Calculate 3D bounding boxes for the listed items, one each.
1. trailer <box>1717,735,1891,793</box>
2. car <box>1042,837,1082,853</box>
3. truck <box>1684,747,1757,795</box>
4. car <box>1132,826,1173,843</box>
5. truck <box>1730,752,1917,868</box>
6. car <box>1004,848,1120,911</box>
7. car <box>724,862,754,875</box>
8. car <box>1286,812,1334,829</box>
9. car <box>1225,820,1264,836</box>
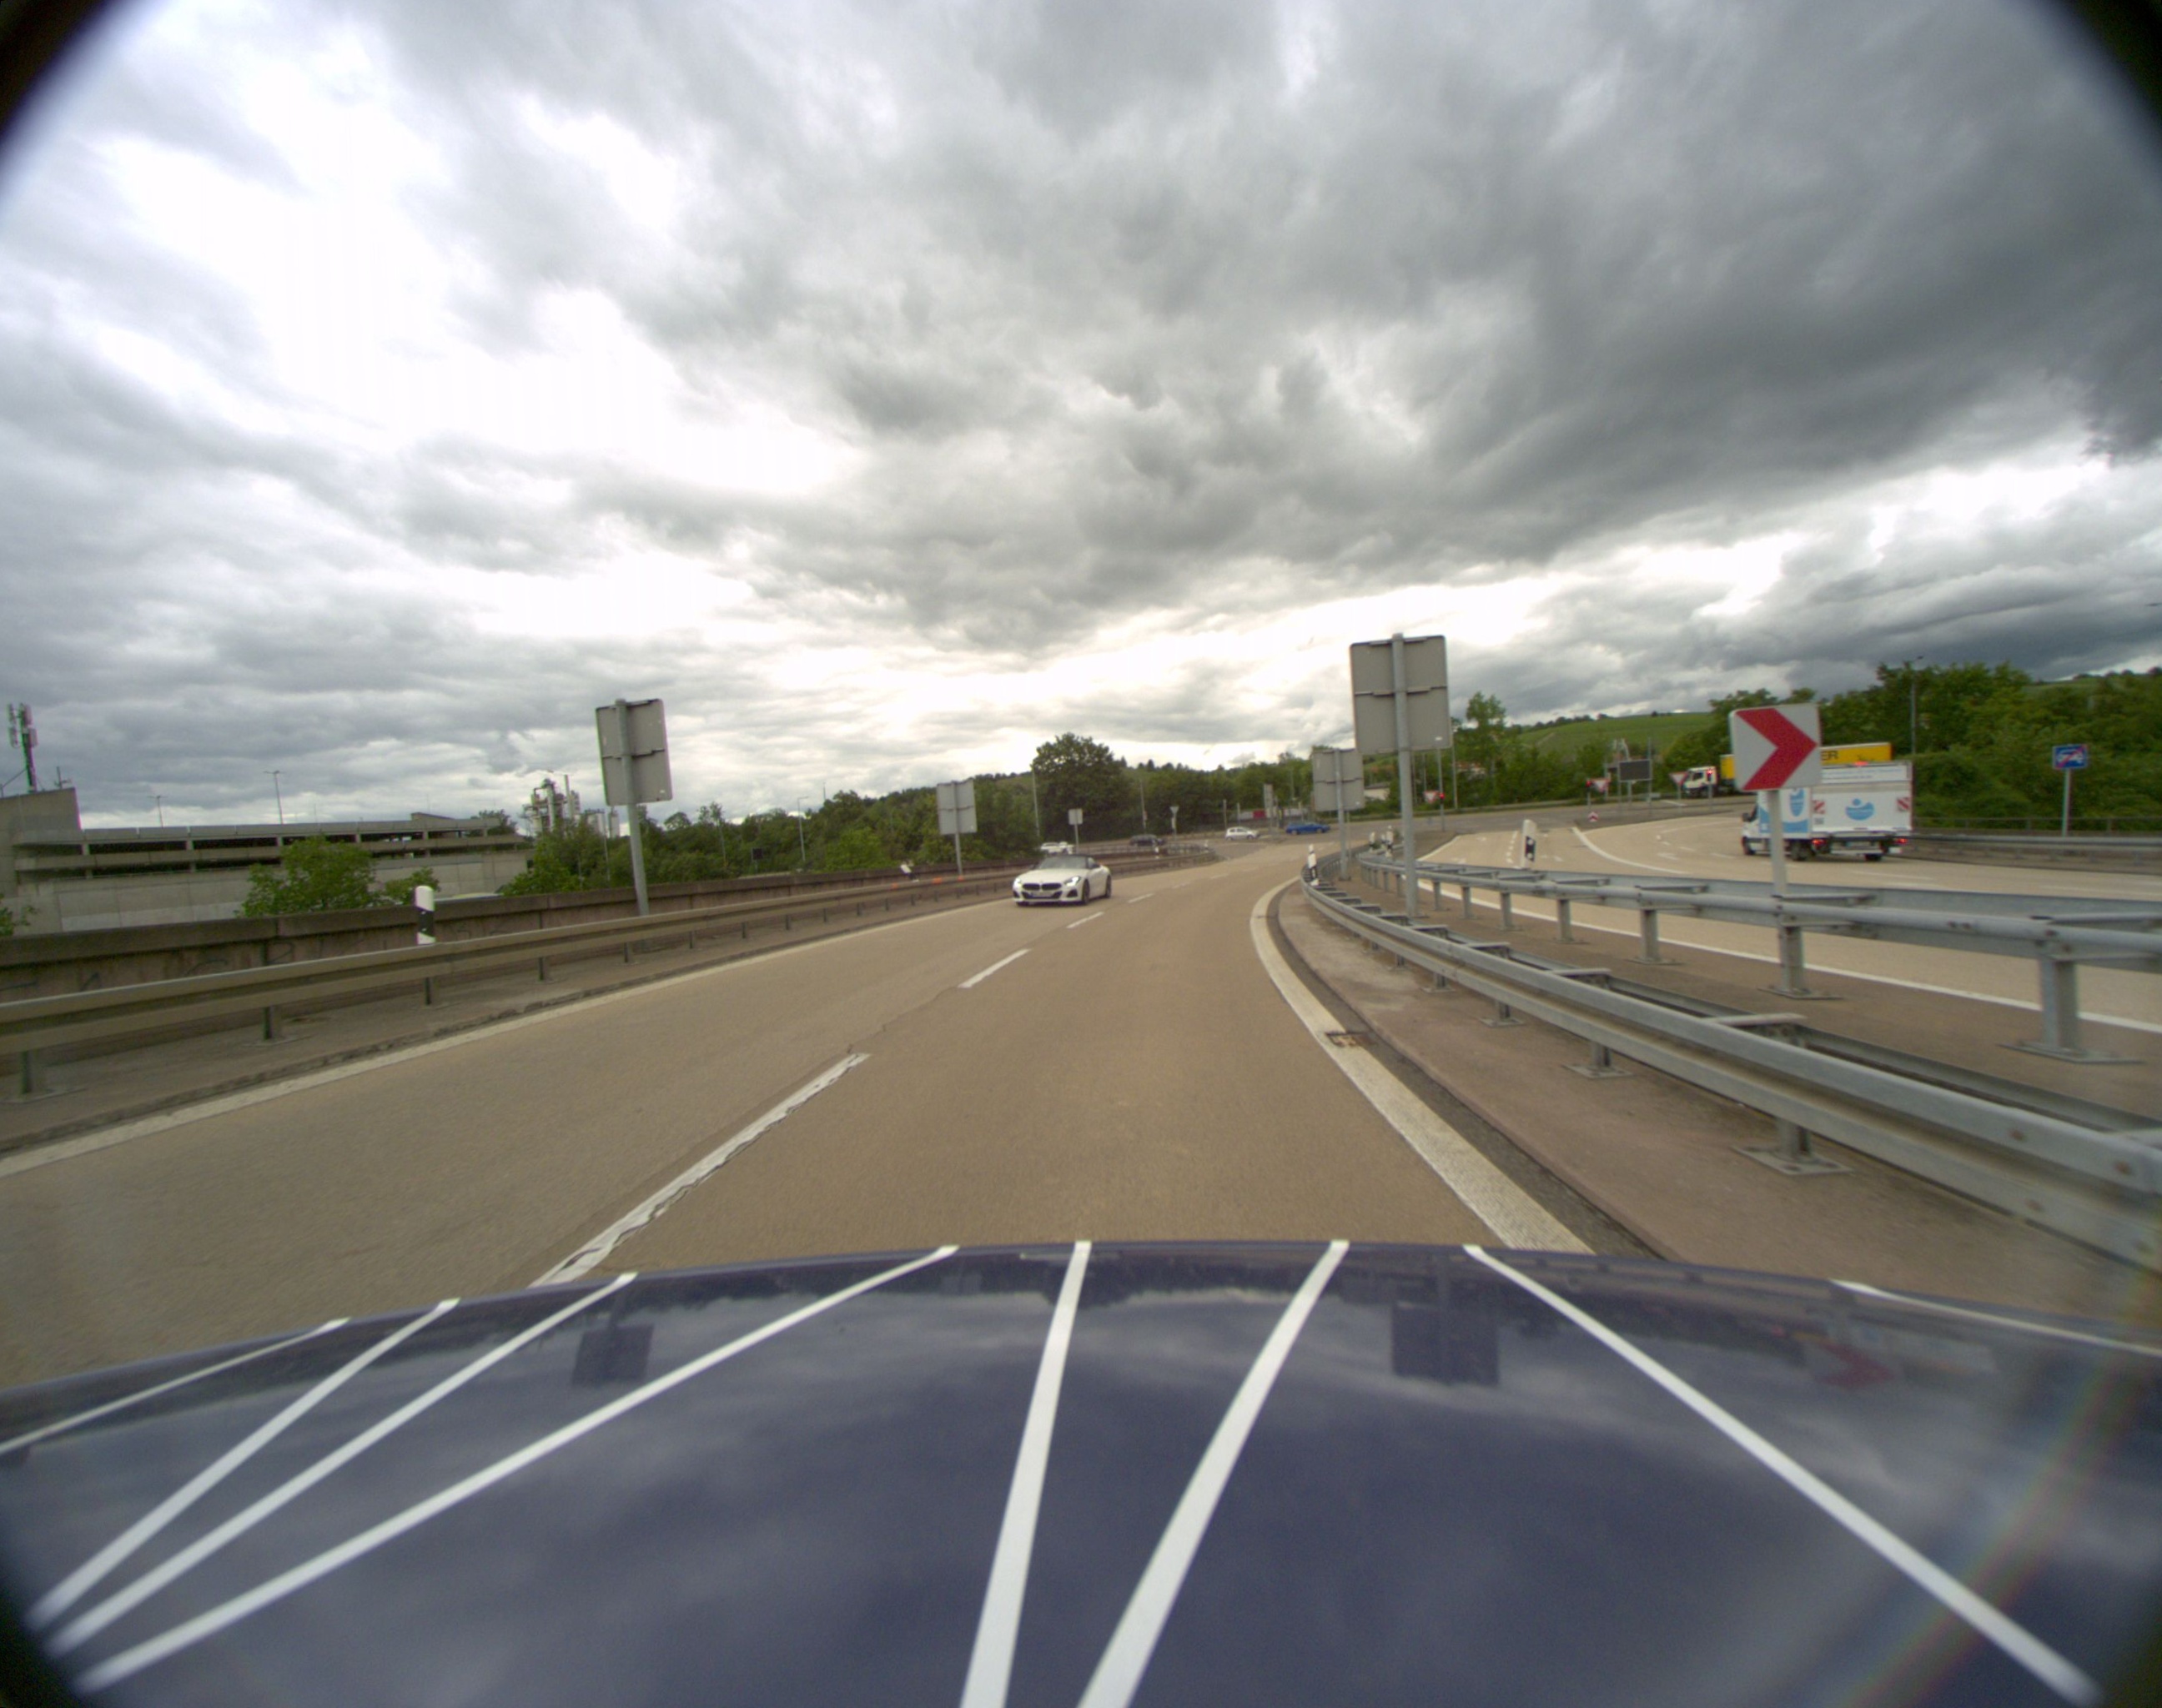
[{"bbox_3d":[68.316,-8.395,72.270,11.626,4.182,2.638,-3,4,32],"label":"trailer"},{"bbox_3d":[-2.449,-1.176,96.322,4.703,1.552,1.880,-4,4,32],"label":"car"},{"bbox_3d":[63.336,-8.194,75.378,5.089,4.182,2.638,-3,4,32],"label":"truck"},{"bbox_3d":[8.460,-2.274,90.071,4.284,1.548,1.950,-4,4,30],"label":"car"},{"bbox_3d":[24.619,-1.540,25.630,2.347,3.246,7.002,-3,4,26],"label":"truck"},{"bbox_3d":[-0.359,0.619,20.921,1.860,1.337,4.828,-2,2,15],"label":"car"},{"bbox_3d":[-64.643,2.733,143.716,5.480,1.746,2.136,-4,4,28],"label":"car"},{"bbox_3d":[24.696,-3.599,81.977,4.531,1.446,1.612,-4,4,33],"label":"car"},{"bbox_3d":[17.822,-2.852,83.032,3.740,1.367,1.630,-4,4,32],"label":"car"}]
